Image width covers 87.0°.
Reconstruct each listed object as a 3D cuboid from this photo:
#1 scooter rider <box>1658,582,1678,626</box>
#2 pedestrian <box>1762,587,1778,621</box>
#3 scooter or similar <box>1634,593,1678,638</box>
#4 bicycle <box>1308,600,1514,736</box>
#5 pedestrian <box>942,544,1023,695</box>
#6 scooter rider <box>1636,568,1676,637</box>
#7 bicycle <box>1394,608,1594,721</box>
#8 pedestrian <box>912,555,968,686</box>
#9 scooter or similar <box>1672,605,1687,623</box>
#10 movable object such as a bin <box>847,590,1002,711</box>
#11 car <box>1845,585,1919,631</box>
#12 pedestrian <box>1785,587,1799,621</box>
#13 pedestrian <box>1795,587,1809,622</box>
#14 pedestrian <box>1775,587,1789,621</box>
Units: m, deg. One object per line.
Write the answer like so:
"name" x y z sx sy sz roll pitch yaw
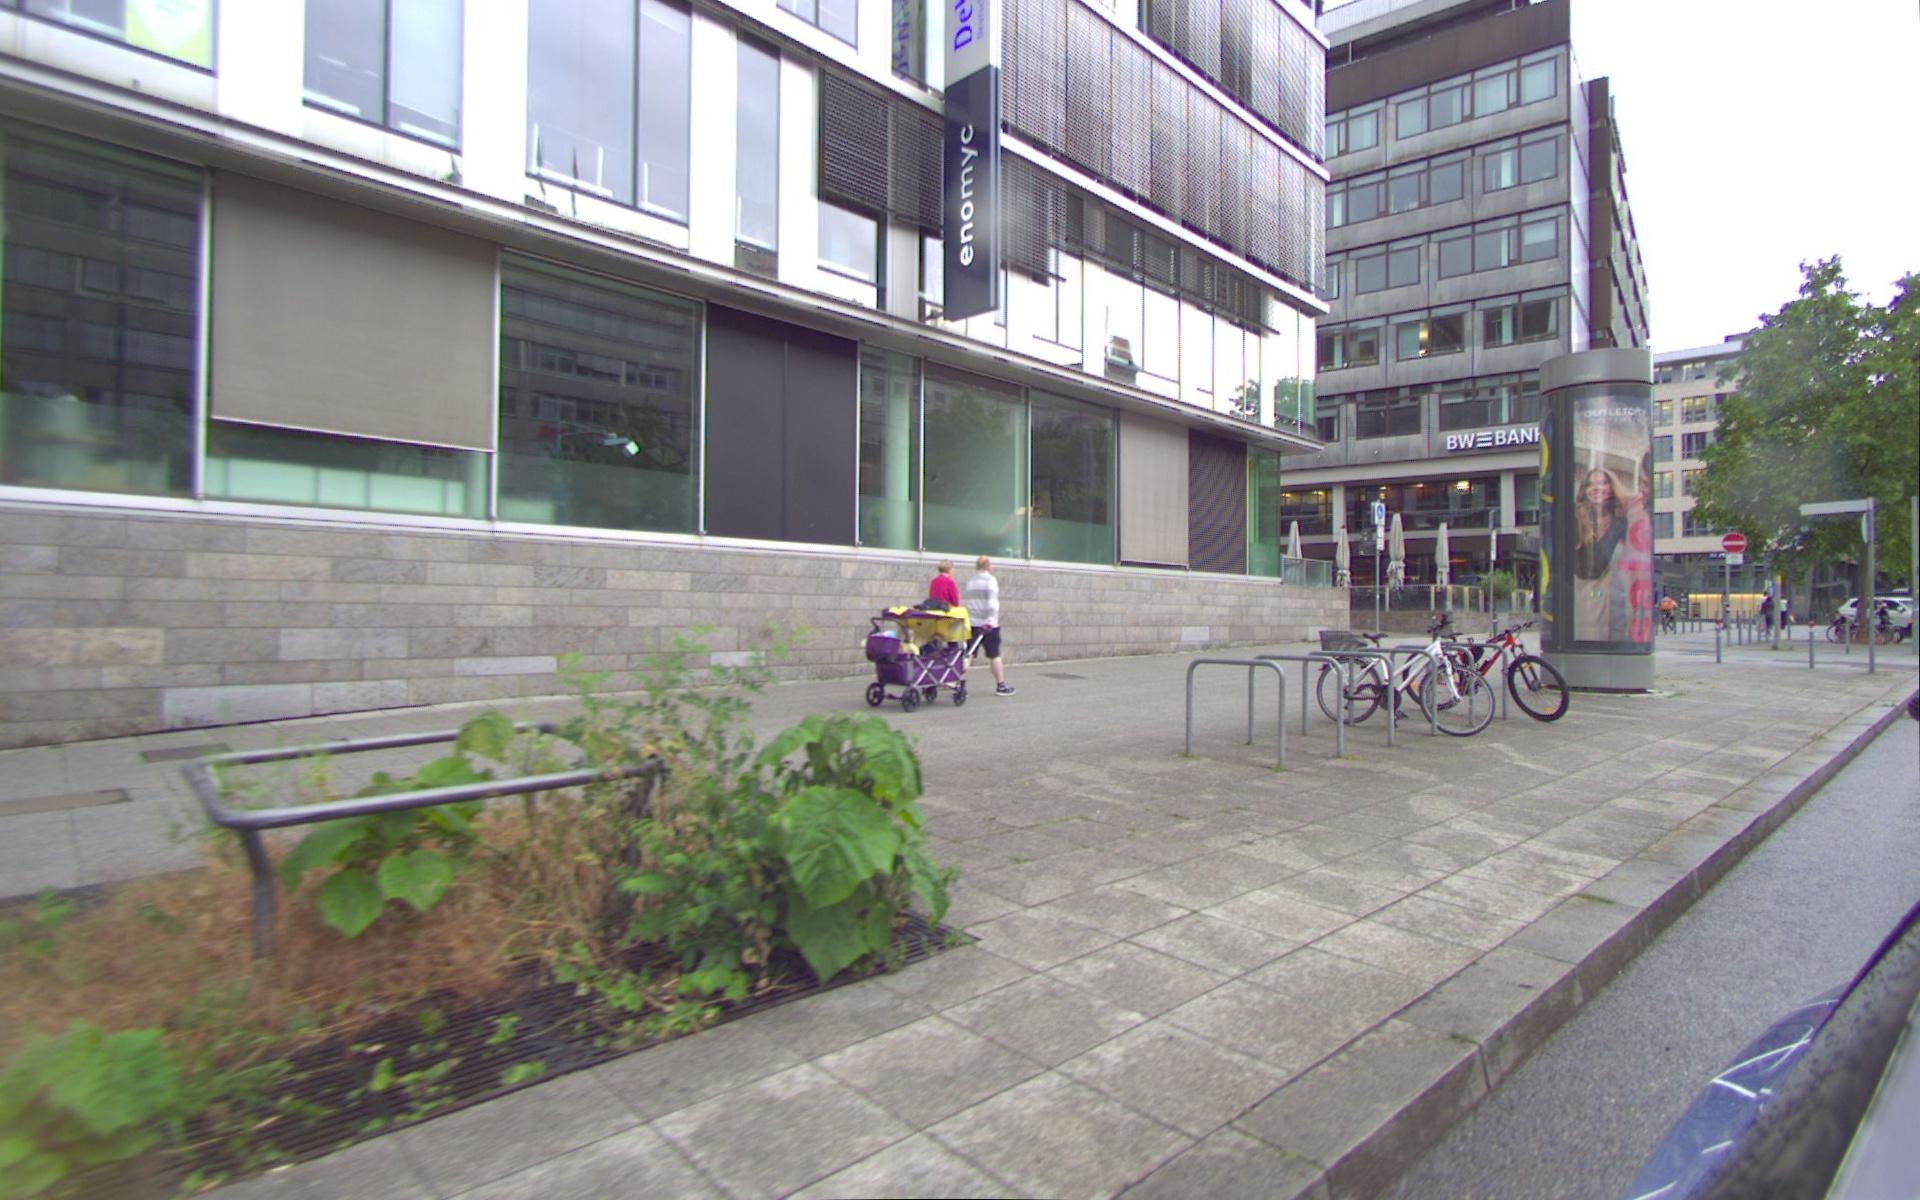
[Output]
"scooter rider" 32.830 0.175 46.918 0.626 2.051 0.841 0 0 44
"pedestrian" 41.439 0.198 51.789 0.538 1.723 0.551 -1 0 -43
"scooter or similar" 20.995 0.467 30.516 1.311 1.322 0.779 0 0 -41
"bicycle" 4.518 0.630 10.219 1.789 1.222 0.660 1 0 40
"pedestrian" 0.286 0.226 12.926 0.722 1.853 0.735 1 1 44
"scooter rider" 21.006 0.062 30.526 0.908 2.046 0.779 0 0 -41
"bicycle" 5.935 0.670 11.334 0.658 1.124 1.873 0 1 -43
"pedestrian" -0.272 0.259 13.629 0.484 1.720 0.570 1 1 44
"scooter or similar" 33.208 0.637 46.693 0.407 0.782 1.256 0 0 43
"movable object such as a bin" -0.387 0.535 11.827 0.802 1.281 1.760 1 1 44
"car" 39.291 0.307 41.420 1.959 1.835 4.218 -1 -1 -9
"pedestrian" 41.906 0.205 50.970 0.488 1.723 0.451 -1 0 -43
"pedestrian" 42.204 0.206 50.732 0.488 1.723 0.451 -1 0 -43
"pedestrian" 41.844 0.198 51.523 0.538 1.723 0.451 -1 0 -43
